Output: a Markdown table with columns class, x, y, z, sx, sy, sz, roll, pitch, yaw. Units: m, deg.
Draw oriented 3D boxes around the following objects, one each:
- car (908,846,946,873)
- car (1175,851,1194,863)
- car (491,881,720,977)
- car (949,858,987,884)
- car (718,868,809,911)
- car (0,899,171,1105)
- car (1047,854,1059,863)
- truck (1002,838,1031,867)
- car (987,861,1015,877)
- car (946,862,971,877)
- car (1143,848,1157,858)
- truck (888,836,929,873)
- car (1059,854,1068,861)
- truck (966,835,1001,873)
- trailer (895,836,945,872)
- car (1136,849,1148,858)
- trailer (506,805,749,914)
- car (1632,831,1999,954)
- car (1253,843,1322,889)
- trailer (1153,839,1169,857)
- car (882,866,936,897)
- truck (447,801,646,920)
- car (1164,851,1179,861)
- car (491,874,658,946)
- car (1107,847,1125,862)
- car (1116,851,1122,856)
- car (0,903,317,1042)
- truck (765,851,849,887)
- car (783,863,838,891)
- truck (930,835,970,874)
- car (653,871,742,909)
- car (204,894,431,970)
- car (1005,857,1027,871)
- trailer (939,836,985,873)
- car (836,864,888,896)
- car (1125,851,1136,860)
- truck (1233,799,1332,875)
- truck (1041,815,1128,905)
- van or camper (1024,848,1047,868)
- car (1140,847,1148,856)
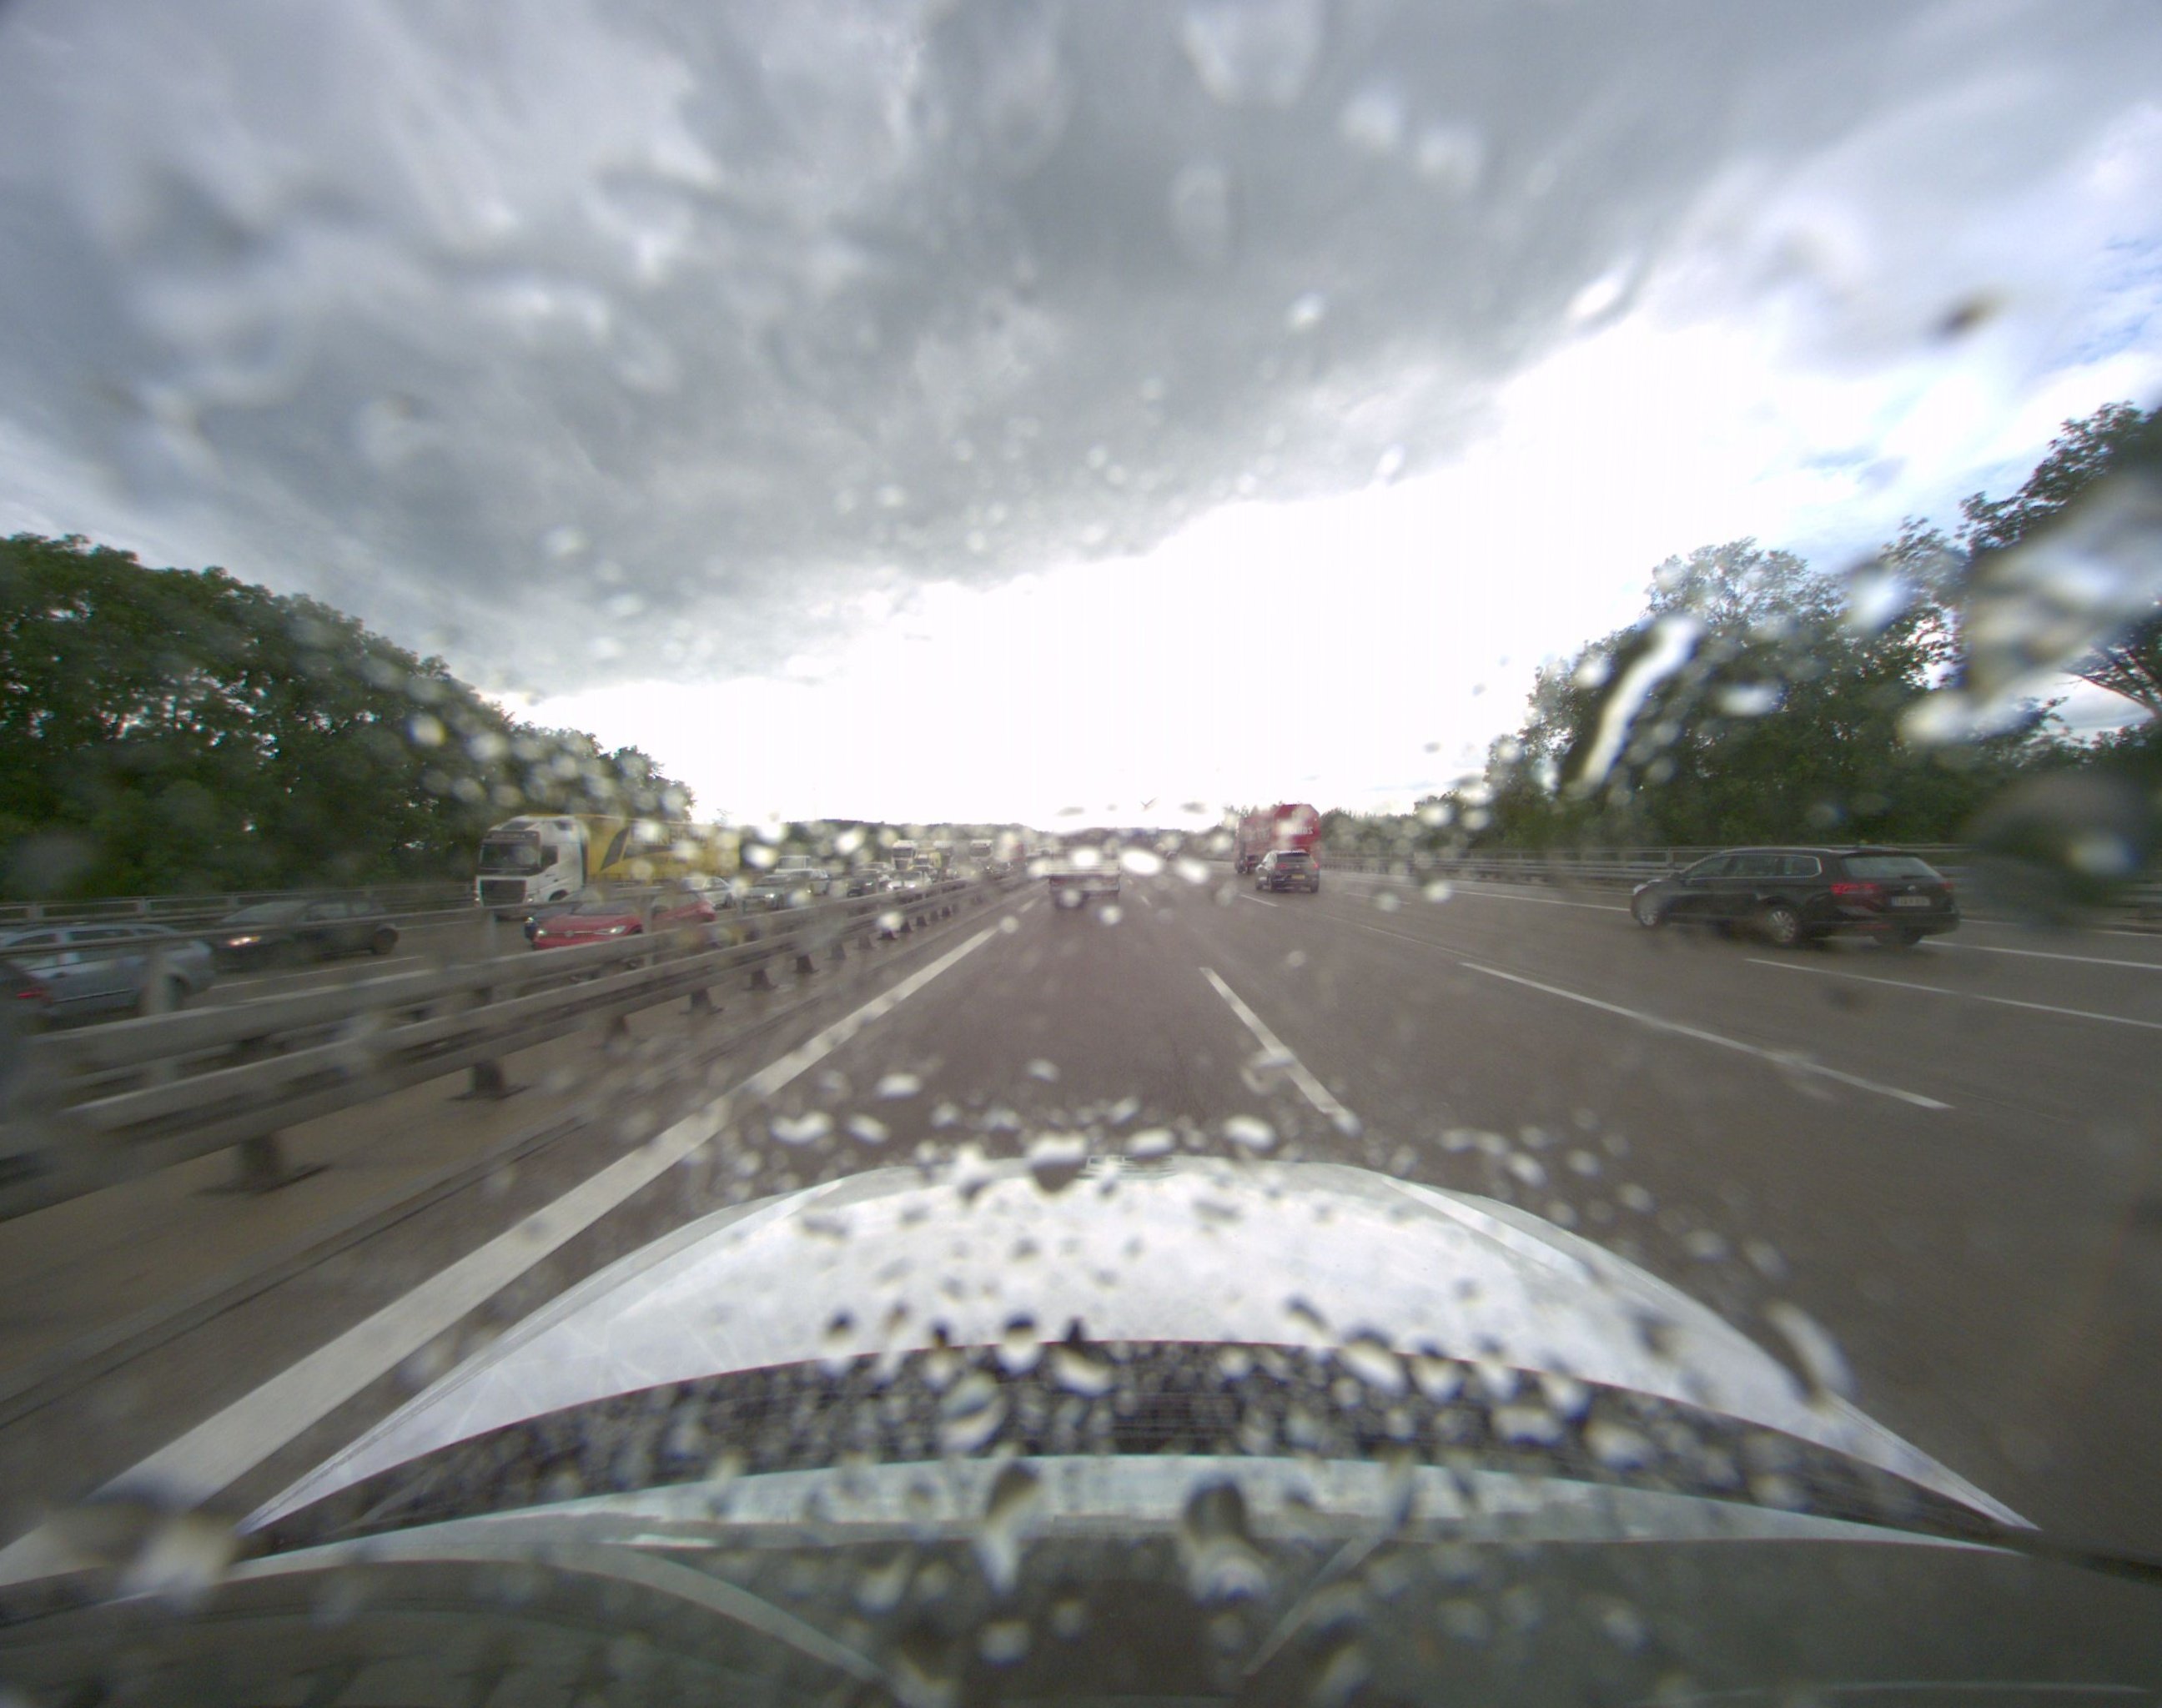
| class | x | y | z | sx | sy | sz | roll | pitch | yaw |
| --- | --- | --- | --- | --- | --- | --- | --- | --- | --- |
| car | -15.254 | 0.551 | 81.096 | 2.148 | 2.504 | 6.776 | -2 | 0 | 2 |
| car | 14.966 | 0.392 | 117.651 | 2.098 | 1.605 | 5.065 | -1 | 0 | 0 |
| car | -9.737 | 1.450 | 17.280 | 1.988 | 1.463 | 4.840 | -2 | 0 | 0 |
| car | -8.595 | 1.277 | 62.473 | 1.906 | 1.766 | 5.334 | -2 | 0 | 2 |
| car | -13.257 | 1.435 | 34.394 | 1.803 | 1.480 | 5.218 | -2 | 0 | -1 |
| car | -10.107 | 1.339 | 5.585 | 1.861 | 1.669 | 5.172 | -2 | 0 | 0 |
| car | -5.198 | 0.846 | 151.669 | 1.824 | 1.451 | 4.003 | -2 | 0 | 3 |
| truck | -9.879 | -0.198 | 126.914 | 2.972 | 4.149 | 12.528 | -2 | 0 | 2 |
| car | -7.994 | 1.498 | 81.763 | 2.007 | 1.387 | 5.462 | -2 | 0 | 2 |
| car | -11.954 | 1.507 | 79.632 | 1.595 | 1.387 | 4.102 | -2 | 0 | 2 |
| car | 11.838 | -0.167 | 139.203 | 2.090 | 1.699 | 4.000 | -1 | 0 | 0 |
| truck | -19.563 | 0.049 | 92.869 | 2.747 | 3.993 | 6.583 | -2 | 0 | 3 |
| car | -3.707 | 0.729 | 172.683 | 1.566 | 1.354 | 4.388 | -2 | 0 | 3 |
| truck | -11.543 | -0.007 | 96.726 | 2.870 | 4.180 | 7.560 | -2 | 0 | 2 |
| trailer | -19.238 | 0.009 | 98.397 | 2.746 | 3.993 | 12.318 | -2 | 0 | 3 |
| car | 11.639 | -0.081 | 155.749 | 2.038 | 1.699 | 4.001 | -1 | 0 | 1 |
| trailer | -21.142 | 0.206 | 39.897 | 3.235 | 4.228 | 14.516 | -2 | 0 | 2 |
| car | 10.965 | 0.483 | 12.698 | 1.809 | 1.543 | 4.358 | -1 | 0 | 0 |
| car | 7.702 | 0.426 | 30.649 | 1.785 | 1.562 | 3.724 | -1 | 0 | 2 |
| trailer | 19.487 | -1.530 | 198.683 | 3.318 | 4.175 | 11.850 | -1 | 0 | 4 |
| car | -9.037 | 1.430 | 43.244 | 1.756 | 1.383 | 4.820 | -2 | 0 | 0 |
| truck | -21.381 | 0.224 | 33.200 | 3.235 | 4.250 | 6.885 | -2 | 0 | 2 |
| car | 15.584 | 0.320 | 140.559 | 2.039 | 1.699 | 5.004 | -1 | 0 | -1 |
| car | -13.866 | 1.455 | 22.667 | 1.774 | 1.612 | 4.576 | -2 | 0 | -1 |
| car | 4.156 | -0.003 | 96.201 | 2.036 | 1.699 | 4.004 | -1 | 0 | 3 |
| car | 11.401 | -0.238 | 245.593 | 1.806 | 1.445 | 4.000 | -2 | 0 | 1 |
| car | -13.905 | 1.577 | 11.587 | 1.811 | 1.425 | 4.475 | -2 | 0 | -1 |
| truck | -20.026 | 1.006 | 60.174 | 2.670 | 2.371 | 9.279 | -2 | 0 | 2 |
| car | -16.082 | 1.330 | 48.618 | 1.742 | 1.479 | 4.418 | -2 | 0 | 0 |
| truck | -14.989 | 0.035 | 93.509 | 2.891 | 4.147 | 7.108 | -2 | 0 | 4 |
| car | -16.700 | 1.535 | 35.691 | 1.816 | 1.438 | 4.054 | -2 | 0 | 1 |
| car | -17.285 | 1.697 | 18.740 | 1.443 | 1.300 | 3.998 | -2 | 0 | -1 |
| car | -7.508 | 1.166 | 94.036 | 1.915 | 1.419 | 5.167 | -2 | 0 | 2 |
| trailer | -14.514 | 0.043 | 100.691 | 2.868 | 4.145 | 13.041 | -2 | 0 | 4 |
| car | -12.557 | 1.459 | 46.933 | 1.742 | 1.577 | 4.418 | -2 | 0 | 0 |
| car | 10.140 | 0.280 | 167.034 | 1.965 | 1.699 | 4.000 | -1 | 0 | 0 |
| truck | 12.280 | -0.985 | 51.575 | 3.139 | 4.003 | 15.649 | -1 | 0 | 3 |
| truck | 0.121 | 0.131 | 25.776 | 2.345 | 2.408 | 7.358 | -1 | 0 | 0 |
| van or camper | -6.101 | 0.548 | 109.933 | 2.269 | 2.496 | 7.306 | -2 | 0 | 2 |
| car | 16.844 | -0.715 | 216.448 | 2.036 | 2.498 | 4.004 | -1 | 0 | 3 |
